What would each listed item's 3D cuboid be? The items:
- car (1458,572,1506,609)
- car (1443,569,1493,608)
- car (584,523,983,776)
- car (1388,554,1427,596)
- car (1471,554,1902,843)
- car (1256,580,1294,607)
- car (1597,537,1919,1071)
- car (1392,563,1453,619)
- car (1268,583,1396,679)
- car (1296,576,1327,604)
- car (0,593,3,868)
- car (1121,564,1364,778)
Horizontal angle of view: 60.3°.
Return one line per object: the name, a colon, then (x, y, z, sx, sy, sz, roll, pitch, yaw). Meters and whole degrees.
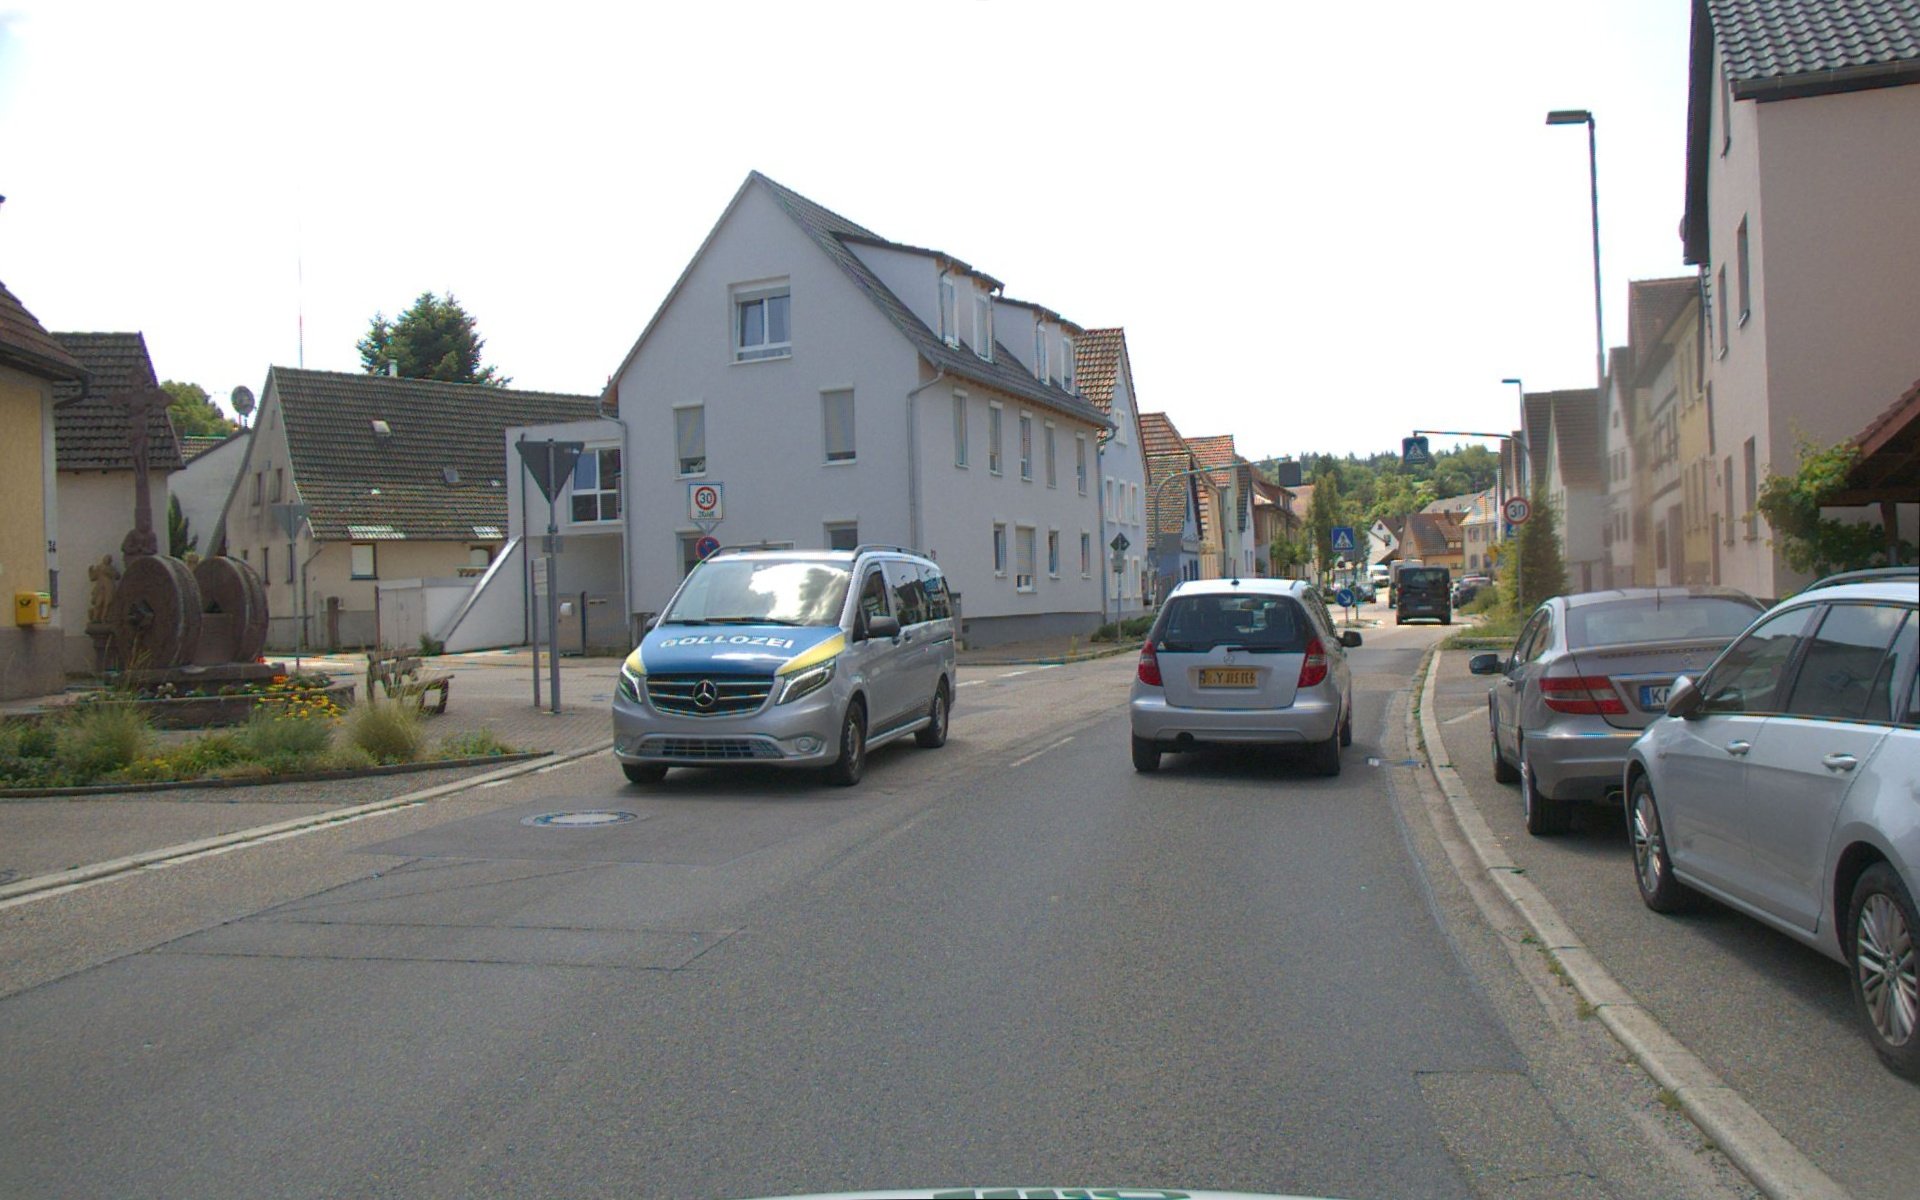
car: (23.734, -0.392, 75.254, 1.951, 1.534, 4.002, -1, -1, 16)
car: (21.826, -0.465, 71.127, 1.951, 1.534, 4.002, -1, -1, 16)
car: (-1.299, 0.425, 14.589, 1.951, 1.831, 4.939, -1, -1, 13)
car: (24.145, -1.325, 89.249, 1.951, 2.049, 4.002, -1, -1, 16)
car: (4.499, 0.567, 10.955, 1.732, 1.424, 4.428, -5, -2, 13)
car: (16.862, -0.344, 88.461, 1.951, 1.344, 3.711, -1, -1, 11)
car: (3.798, 0.529, 5.780, 1.845, 1.556, 4.339, -4, -1, 7)
car: (16.281, -0.287, 58.354, 1.951, 1.848, 4.002, -1, -1, 15)
car: (6.086, 0.523, 27.424, 1.712, 1.441, 4.003, -1, -1, 8)
car: (22.544, -0.633, 106.015, 1.632, 1.624, 4.002, -1, -1, 16)
car: (-7.021, 0.718, 7.863, 3.892, 1.490, 1.718, -1, 0, -7)
car: (2.673, 0.544, 14.964, 1.772, 1.672, 3.731, 0, 0, 16)
